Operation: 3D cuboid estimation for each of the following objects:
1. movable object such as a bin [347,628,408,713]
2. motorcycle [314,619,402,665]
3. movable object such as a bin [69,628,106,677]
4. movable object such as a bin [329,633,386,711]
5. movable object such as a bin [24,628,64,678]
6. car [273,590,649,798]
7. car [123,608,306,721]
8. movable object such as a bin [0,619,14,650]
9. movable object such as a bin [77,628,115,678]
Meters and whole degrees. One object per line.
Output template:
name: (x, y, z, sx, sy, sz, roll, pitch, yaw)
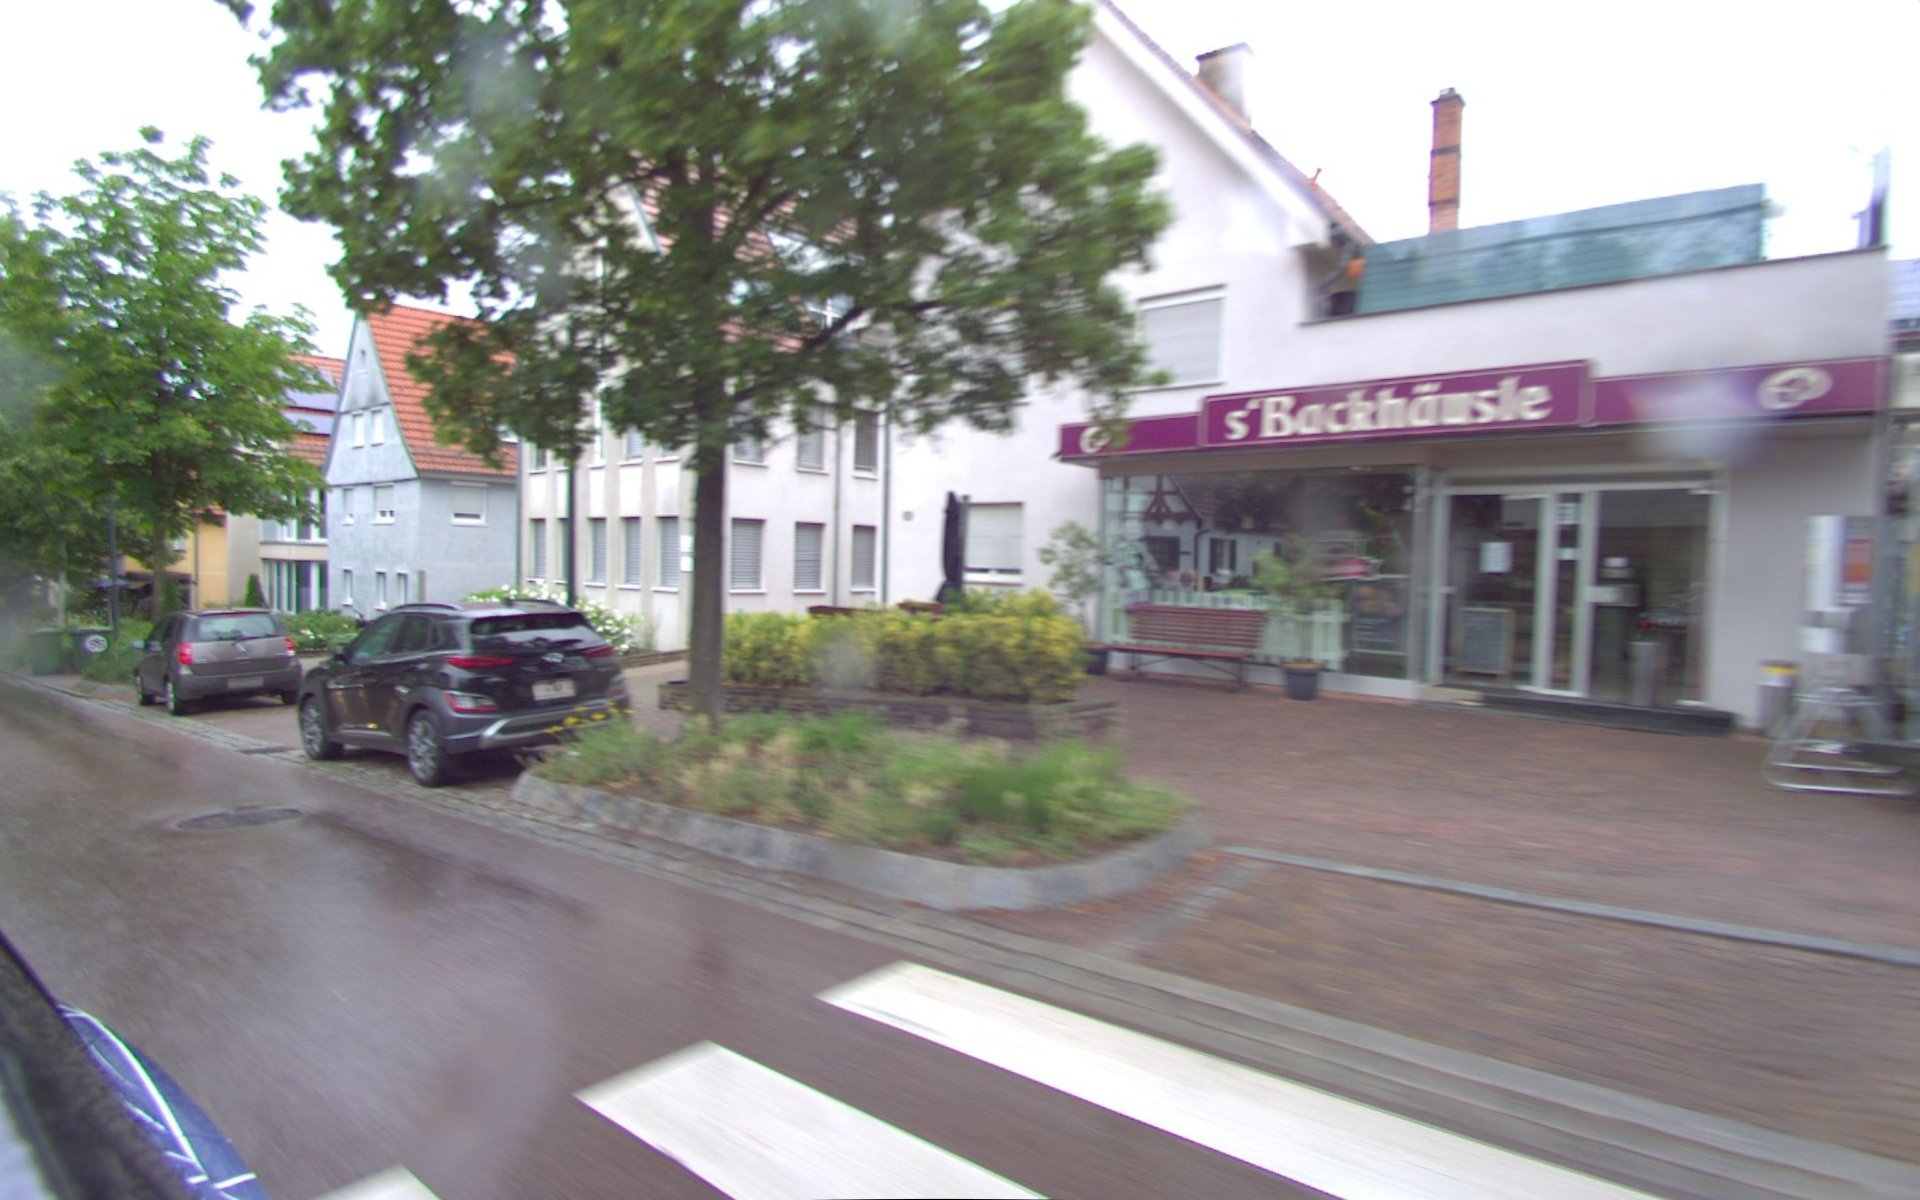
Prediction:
movable object such as a bin: (-8.463, 1.010, 14.701, 0.618, 1.186, 0.576, -2, 0, 40)
motorcycle: (-16.810, 1.153, 28.298, 0.817, 1.170, 1.962, 0, 1, 41)
movable object such as a bin: (-20.607, 1.225, 23.890, 0.564, 1.119, 0.604, -1, -1, 42)
movable object such as a bin: (-8.972, 1.052, 15.075, 0.595, 1.107, 0.547, -2, -1, 40)
movable object such as a bin: (-21.178, 1.222, 23.402, 0.536, 1.119, 0.636, -1, -1, 42)
car: (-4.966, 0.758, 9.856, 3.996, 1.565, 1.754, -1, 2, 40)
car: (-12.029, 0.937, 16.240, 3.865, 1.544, 1.629, -1, 1, 43)
movable object such as a bin: (-34.662, 1.251, 36.610, 0.545, 1.070, 0.588, 0, 1, 44)
movable object such as a bin: (-20.062, 1.225, 23.490, 0.564, 1.119, 0.604, -1, -1, 42)
